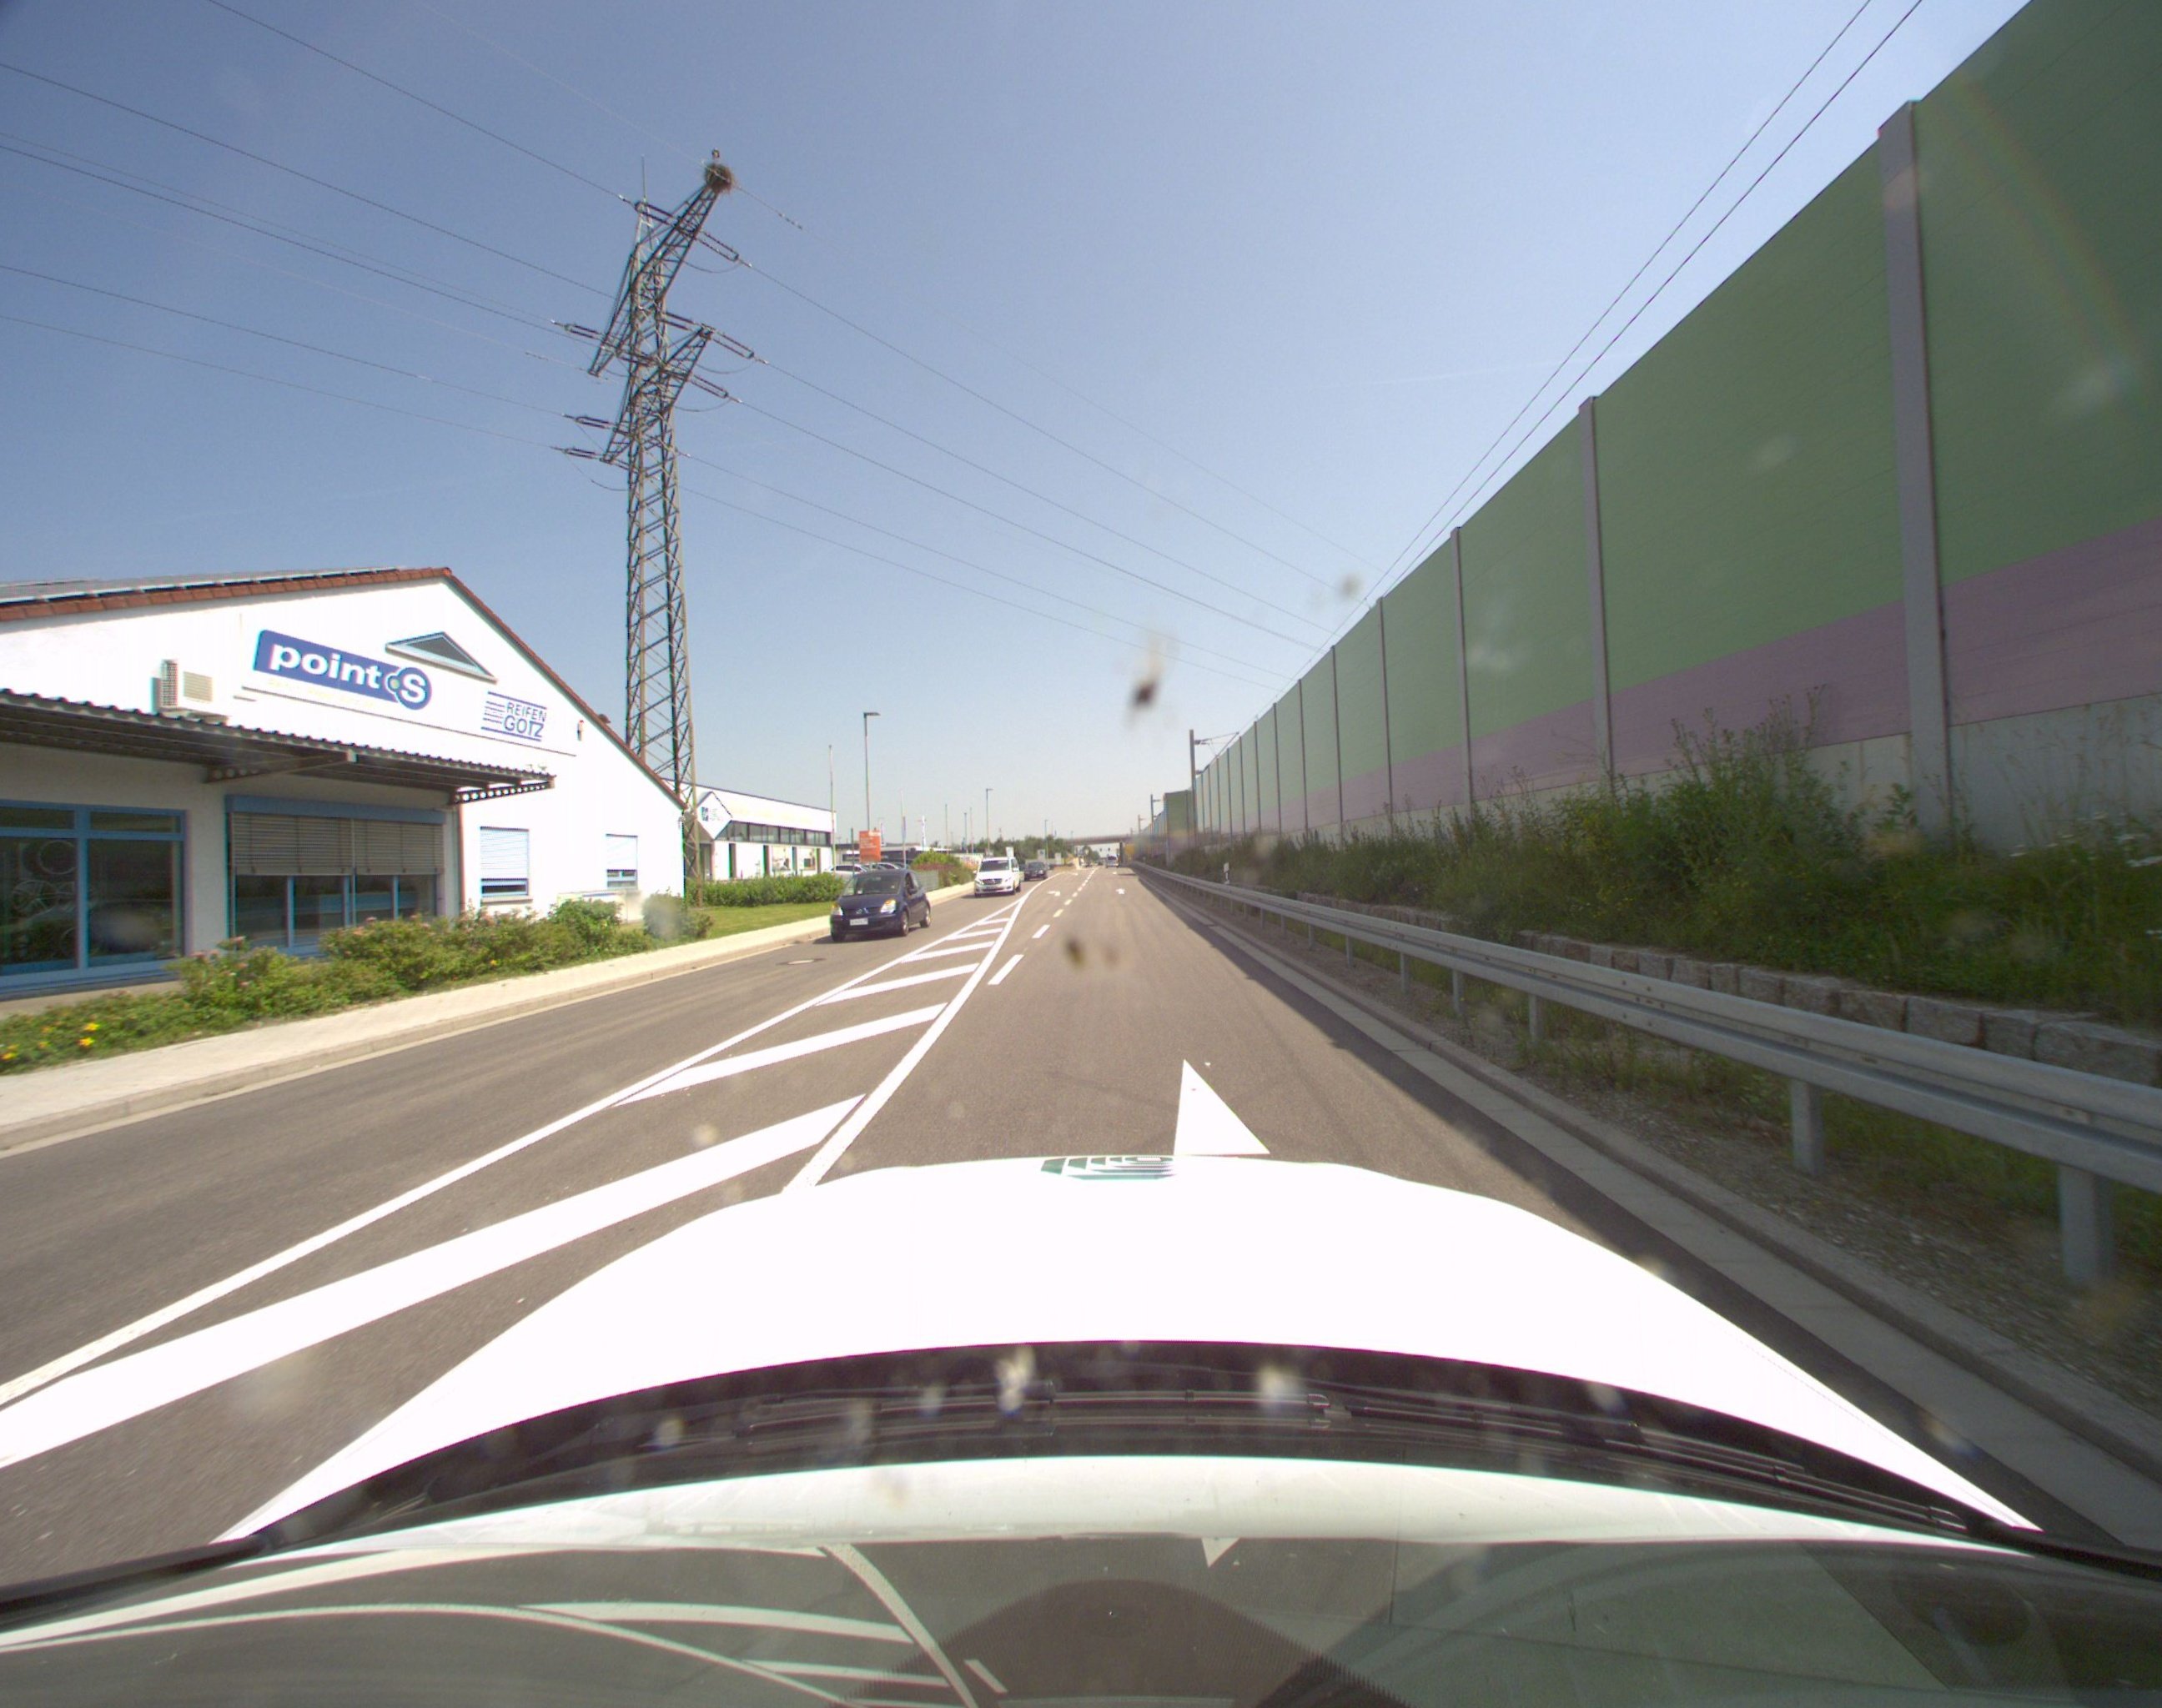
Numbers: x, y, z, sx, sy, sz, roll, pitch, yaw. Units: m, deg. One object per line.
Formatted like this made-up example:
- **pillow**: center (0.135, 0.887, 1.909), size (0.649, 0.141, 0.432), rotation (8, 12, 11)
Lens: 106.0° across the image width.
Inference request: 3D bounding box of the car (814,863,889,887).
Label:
- **car**: center (-14.493, 1.342, 51.536), size (4.210, 1.456, 1.764), rotation (0, 0, 0)

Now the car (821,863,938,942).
- **car**: center (-4.769, 1.090, 19.858), size (1.662, 1.600, 3.974), rotation (-4, -1, 2)

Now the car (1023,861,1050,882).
- **car**: center (-3.401, 1.314, 62.434), size (1.664, 1.423, 4.001), rotation (-4, 0, 1)

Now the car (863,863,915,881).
- **car**: center (-14.237, 1.329, 60.493), size (3.498, 1.254, 1.504), rotation (0, 0, 0)

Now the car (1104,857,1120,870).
- **car**: center (4.391, 1.332, 114.866), size (1.985, 1.757, 4.004), rotation (-2, -1, 3)

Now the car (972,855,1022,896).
- **car**: center (-4.162, 1.059, 41.260), size (1.988, 1.874, 5.167), rotation (-3, -1, -1)

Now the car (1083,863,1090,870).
- **car**: center (1.667, 3.605, 233.408), size (1.870, 1.673, 4.293), rotation (-3, 0, 2)
